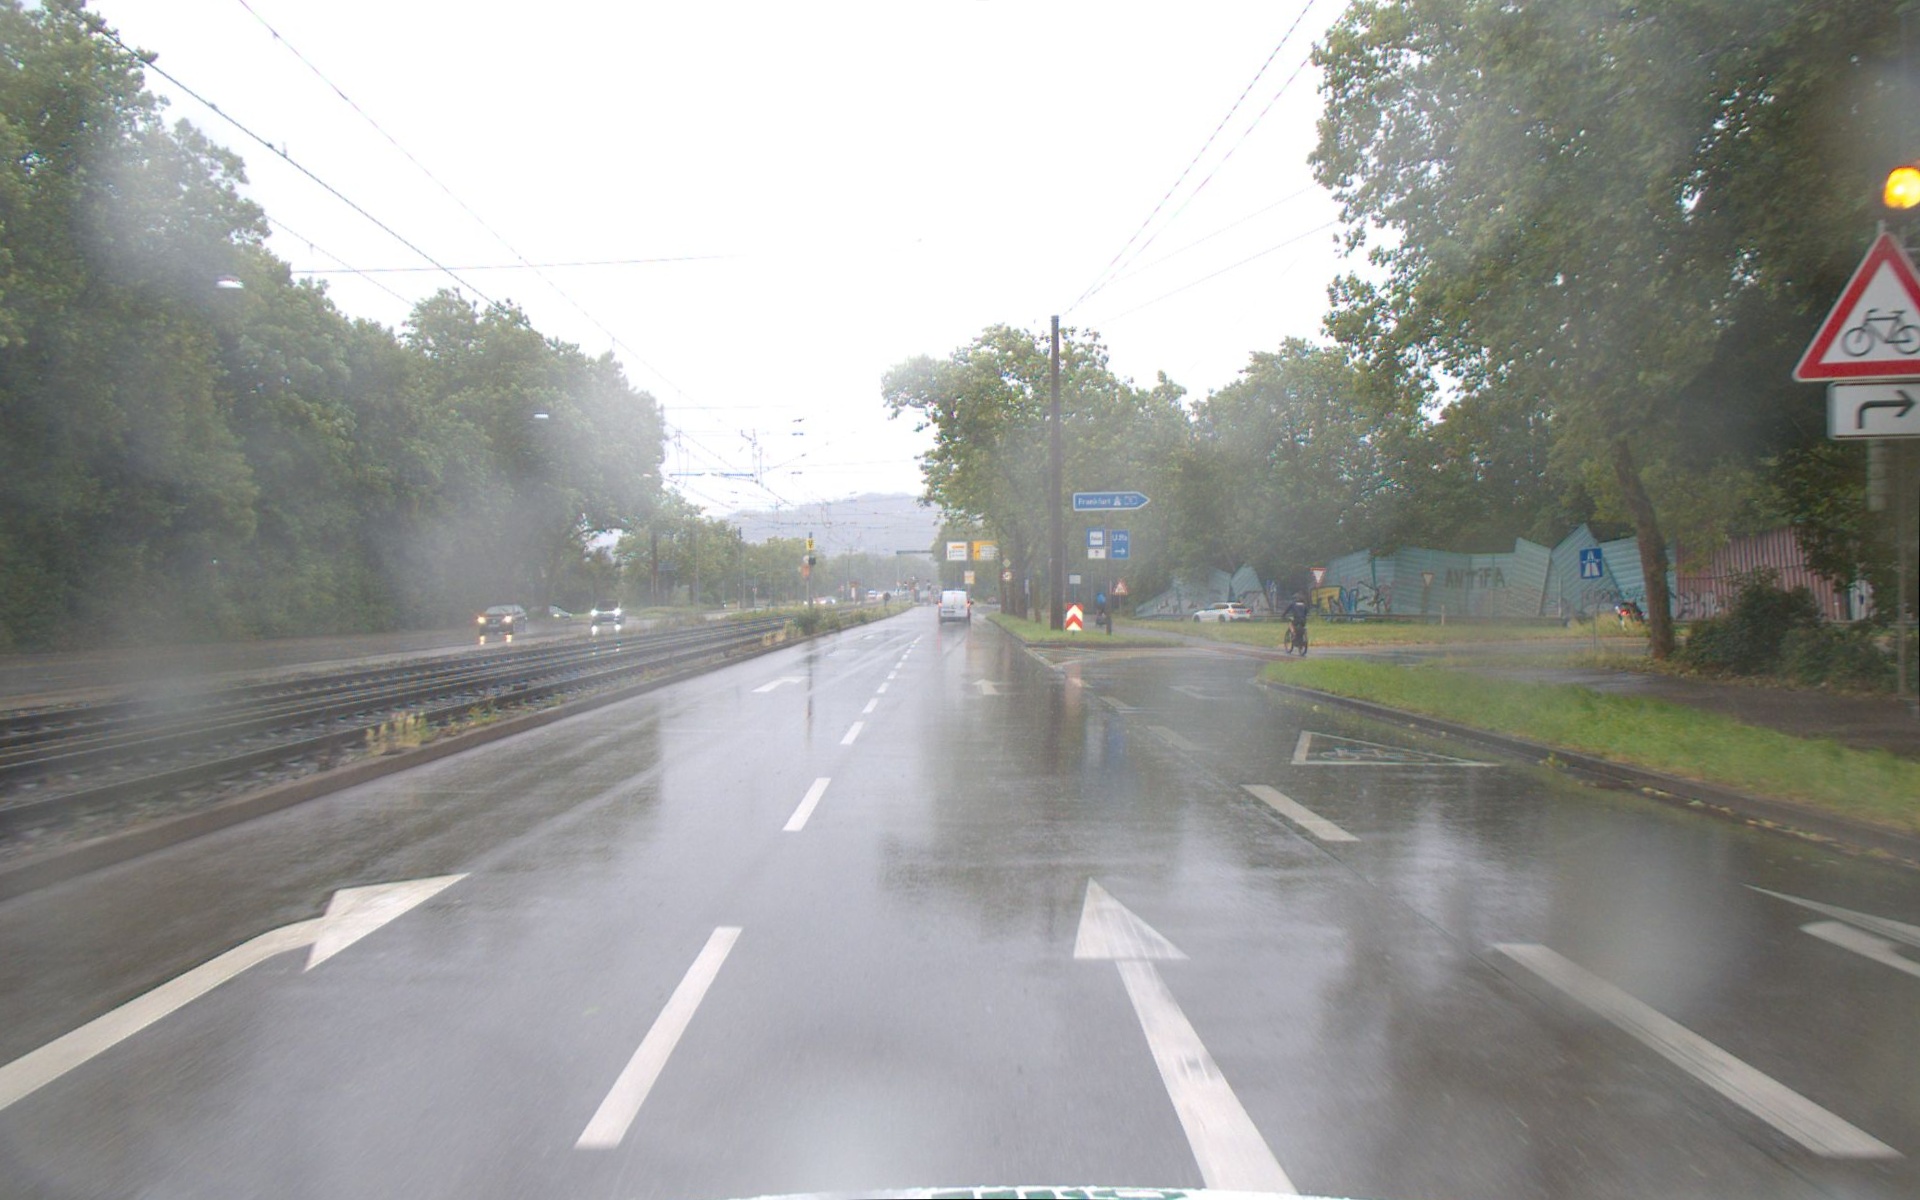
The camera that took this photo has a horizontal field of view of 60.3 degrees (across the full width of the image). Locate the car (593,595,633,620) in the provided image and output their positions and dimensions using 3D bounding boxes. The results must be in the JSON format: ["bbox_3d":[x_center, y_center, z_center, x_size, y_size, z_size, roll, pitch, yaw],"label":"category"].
[{"bbox_3d":[-22.186,0.462,105.840,1.656,1.550,4.953,0,0,-2],"label":"car"}]

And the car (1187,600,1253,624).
[{"bbox_3d":[16.906,0.756,107.657,1.928,1.563,4.420,0,0,-31],"label":"car"}]

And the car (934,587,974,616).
[{"bbox_3d":[-0.334,0.098,87.356,2.035,1.445,3.999,-1,0,-1],"label":"car"}]

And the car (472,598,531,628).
[{"bbox_3d":[-21.796,0.608,78.791,1.736,1.354,4.378,0,0,-2],"label":"car"}]
